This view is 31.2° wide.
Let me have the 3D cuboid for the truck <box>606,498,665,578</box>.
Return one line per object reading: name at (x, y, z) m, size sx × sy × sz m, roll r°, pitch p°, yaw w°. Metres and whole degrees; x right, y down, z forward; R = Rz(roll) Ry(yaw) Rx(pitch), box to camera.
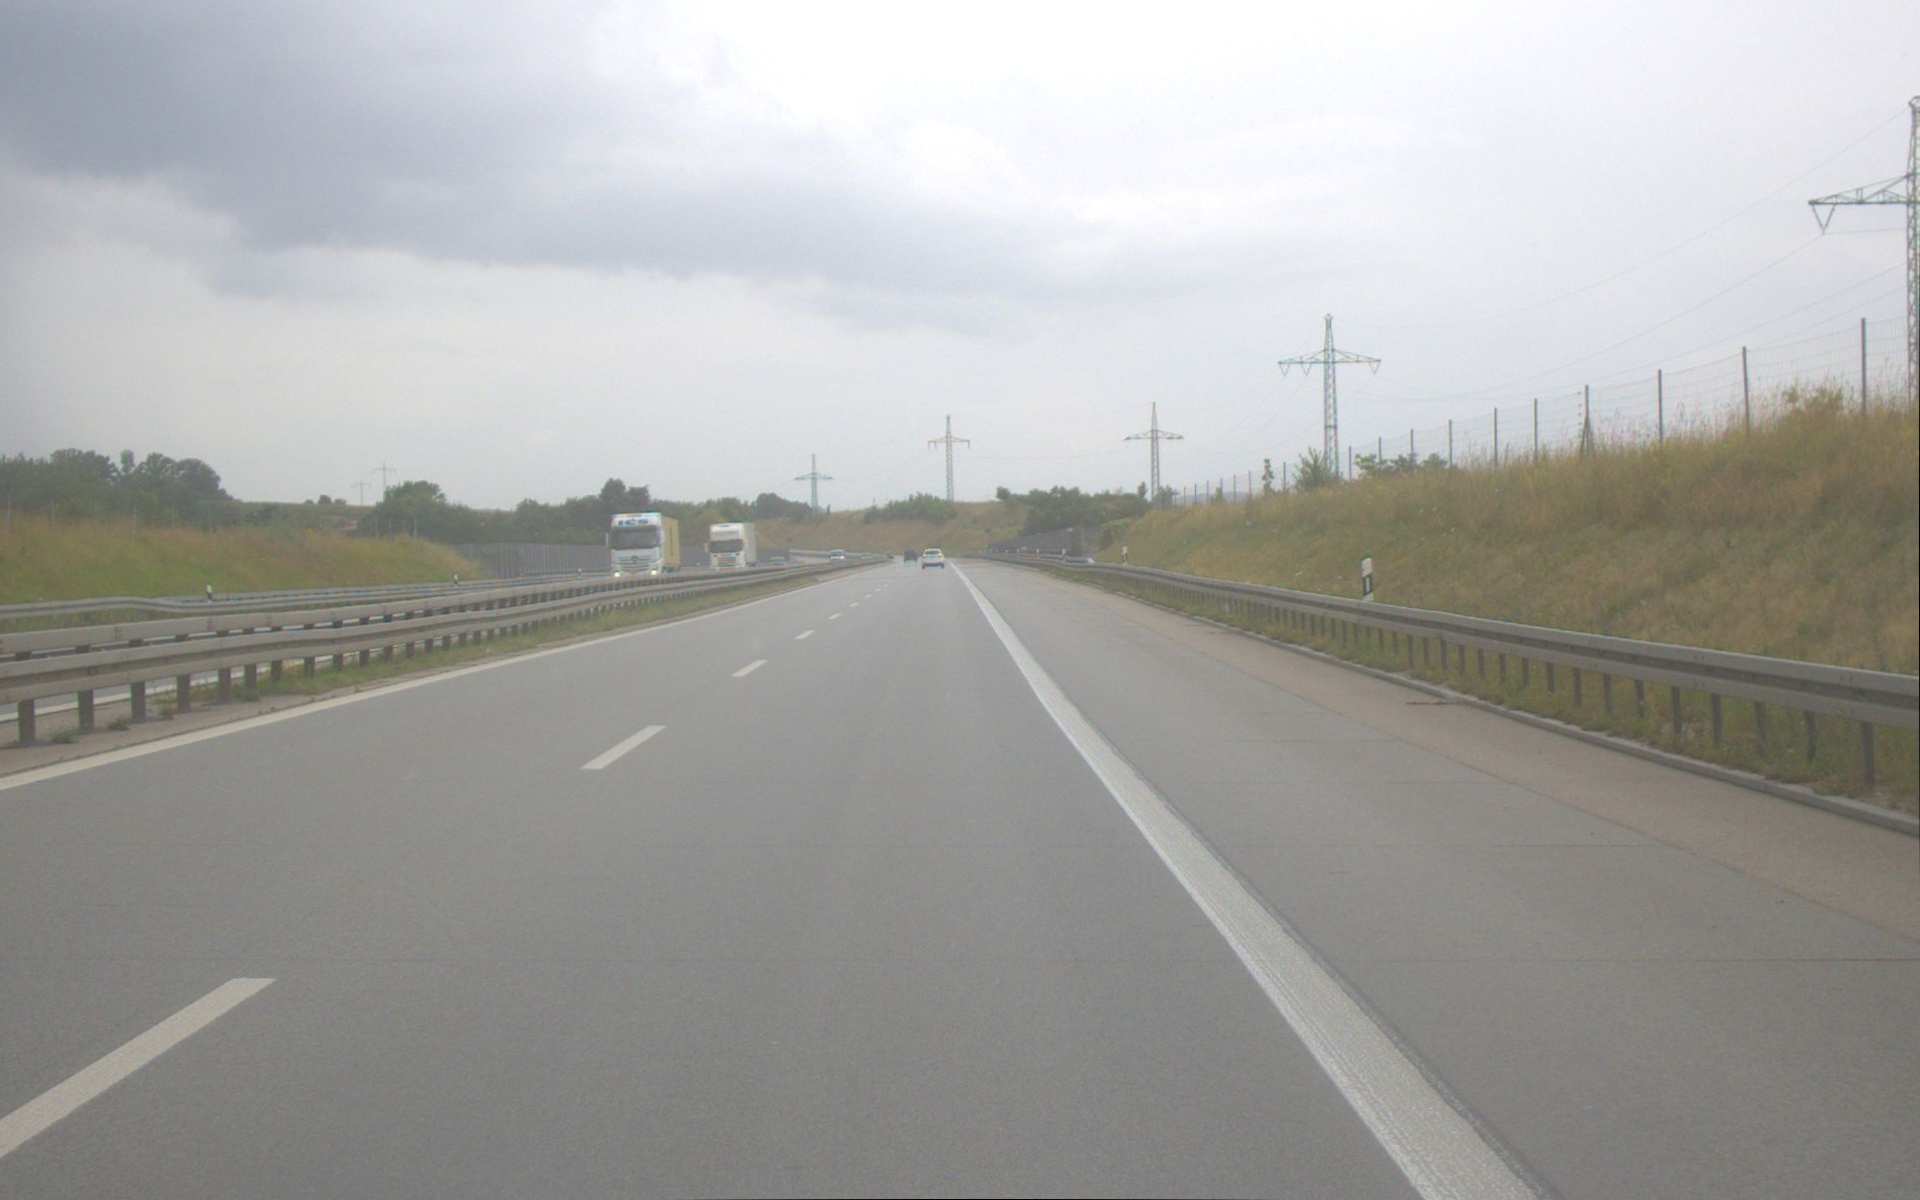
truck at (-16.498, -3.127, 175.161) m, size 2.592 × 3.912 × 5.588 m, roll -2°, pitch 1°, yaw -3°
